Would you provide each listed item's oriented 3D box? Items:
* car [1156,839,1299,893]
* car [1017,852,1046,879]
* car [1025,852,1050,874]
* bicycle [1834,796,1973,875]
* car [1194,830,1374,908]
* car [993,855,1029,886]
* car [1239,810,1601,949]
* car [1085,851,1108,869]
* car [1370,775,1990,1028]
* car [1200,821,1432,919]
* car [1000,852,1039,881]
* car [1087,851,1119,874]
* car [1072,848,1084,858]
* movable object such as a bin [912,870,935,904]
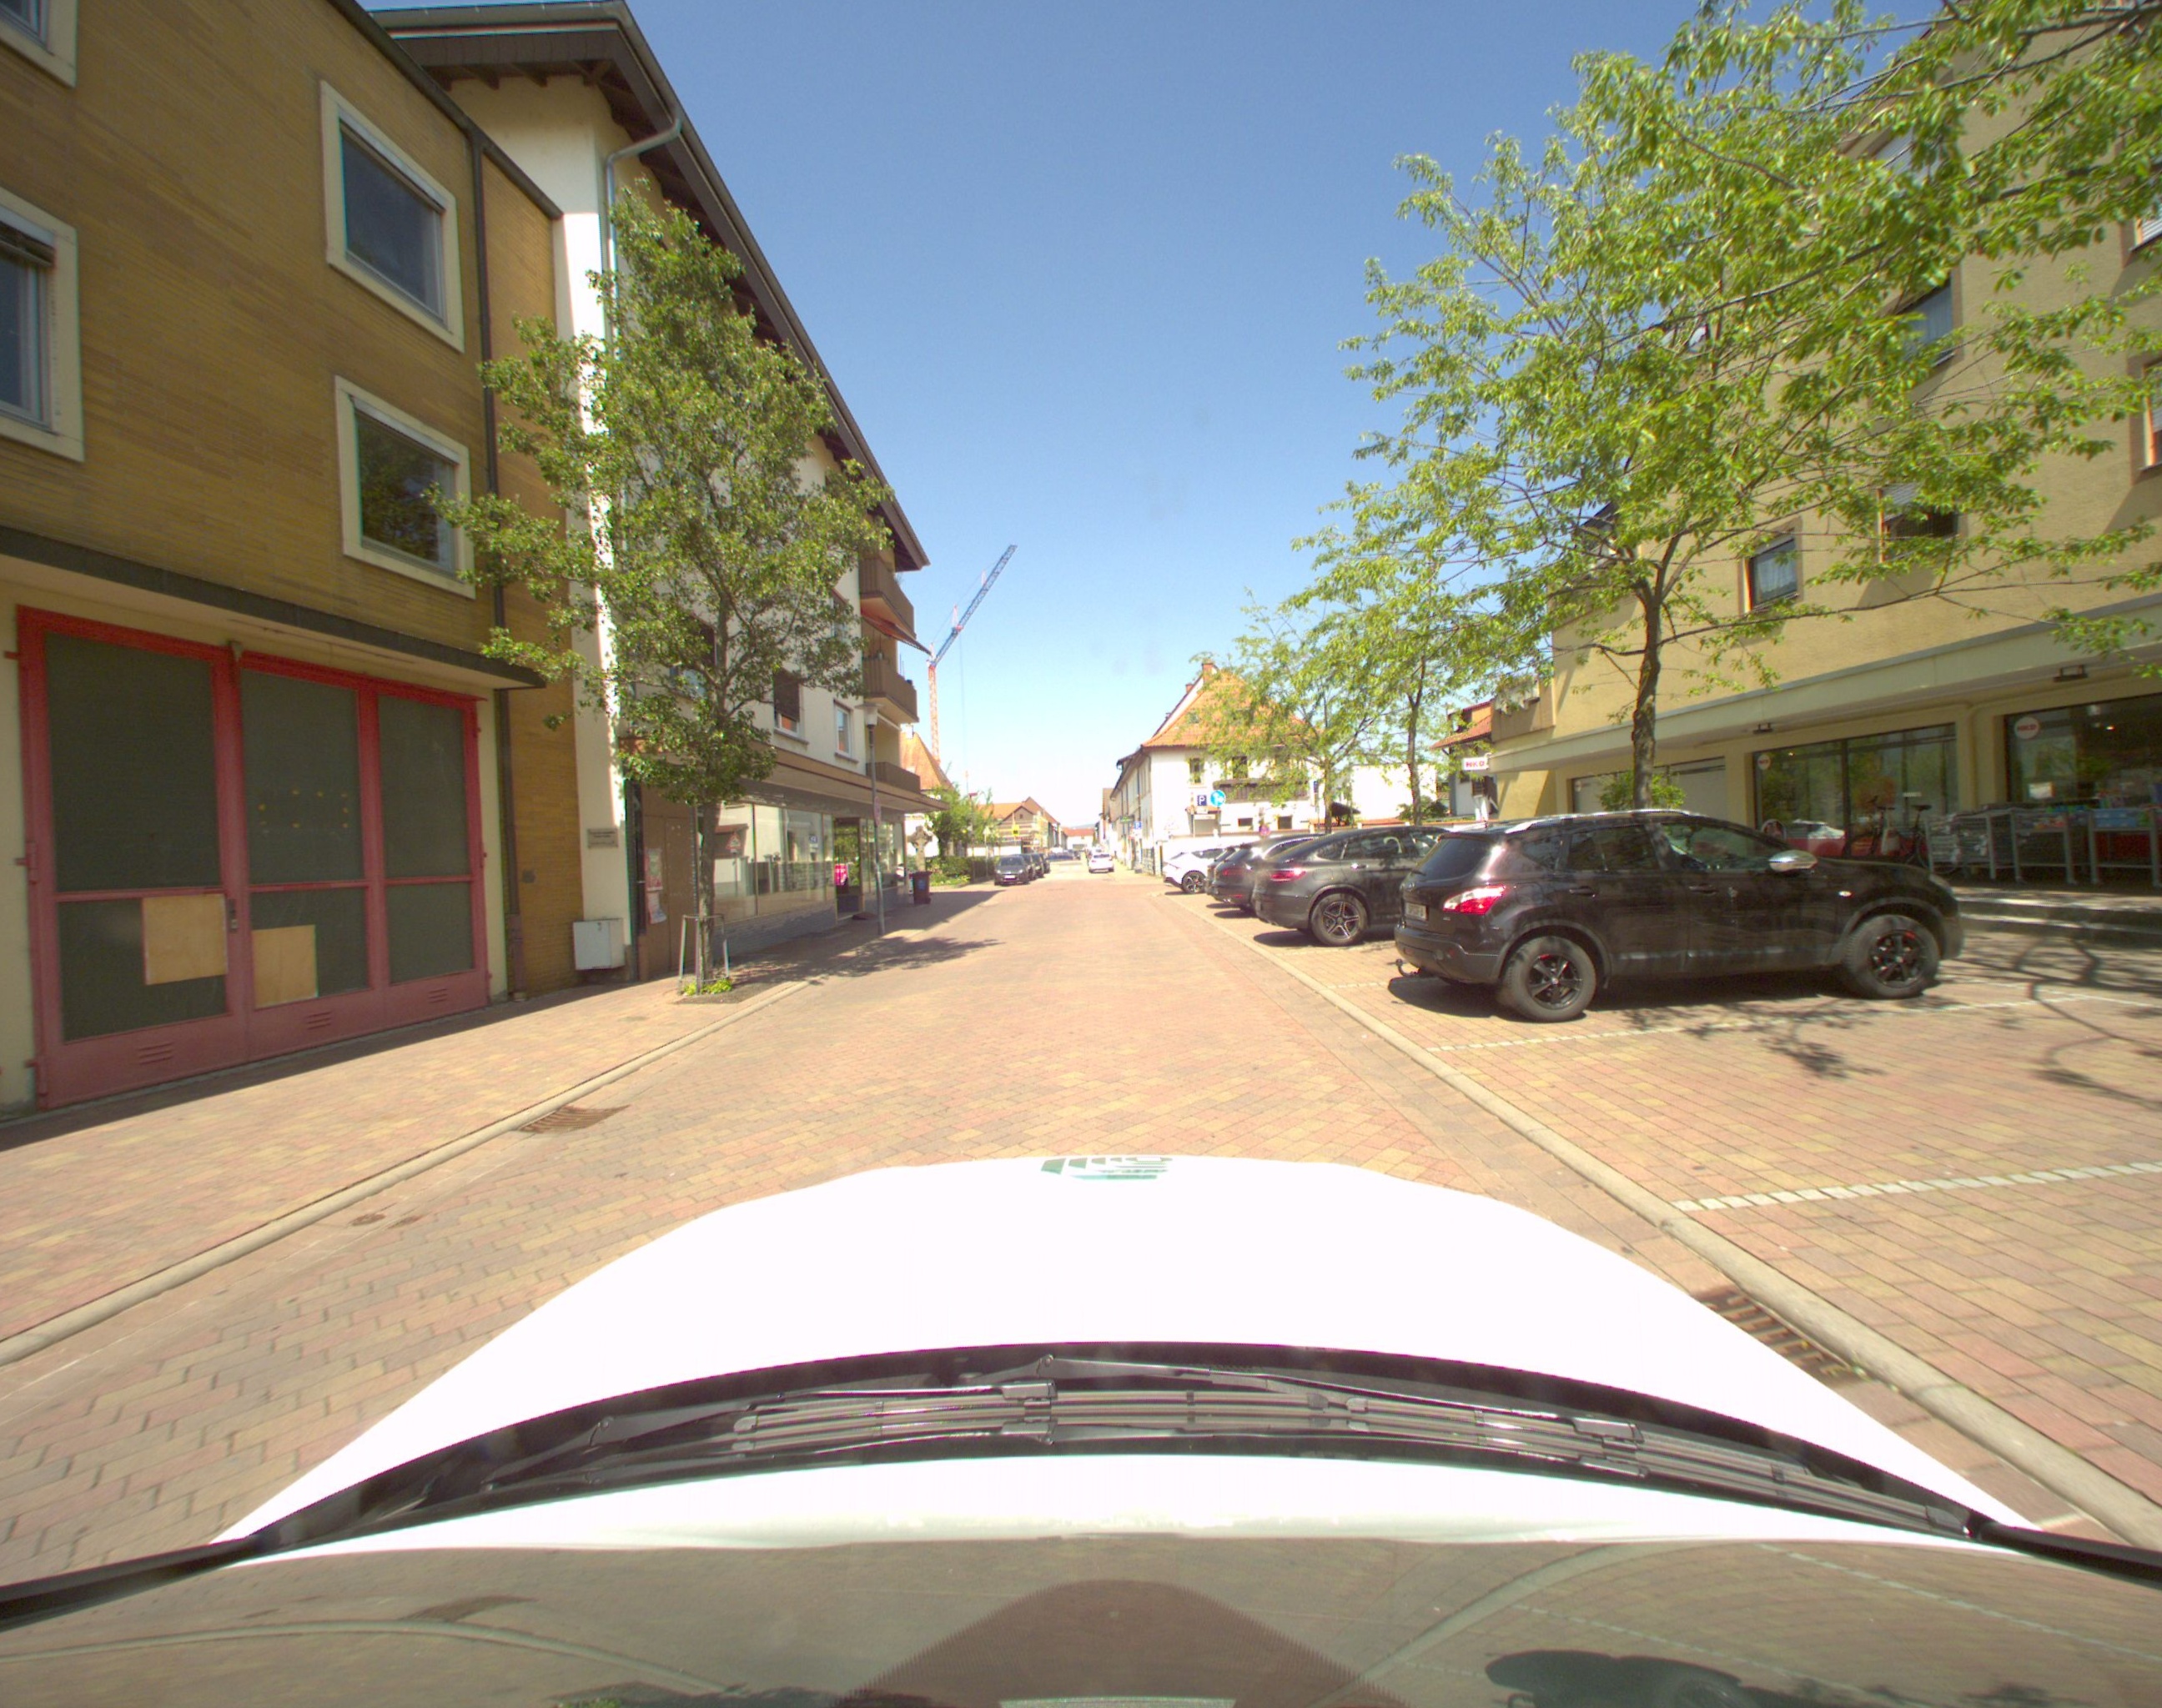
[{"bbox_3d":[4.851,0.391,27.361,4.429,1.576,1.787,-2,0,-3],"label":"car"},{"bbox_3d":[-3.246,0.733,54.302,1.633,1.628,3.767,-3,1,-1],"label":"car"},{"bbox_3d":[-3.438,0.706,65.082,1.821,1.630,4.214,-3,0,-2],"label":"car"},{"bbox_3d":[12.717,-0.263,12.668,0.411,1.124,1.776,-2,0,3],"label":"bicycle"},{"bbox_3d":[4.959,0.348,20.296,3.932,1.534,1.823,-5,0,-1],"label":"car"},{"bbox_3d":[-3.642,0.824,42.742,1.698,1.496,3.853,-3,0,-3],"label":"car"},{"bbox_3d":[4.746,0.339,11.964,4.489,1.588,1.852,-4,0,3],"label":"car"},{"bbox_3d":[1.490,0.544,81.286,1.880,1.556,3.890,-6,1,-3],"label":"car"},{"bbox_3d":[4.837,0.361,7.022,4.013,1.612,1.681,-5,0,1],"label":"car"},{"bbox_3d":[4.856,0.316,17.294,4.267,1.681,2.000,-4,0,-2],"label":"car"},{"bbox_3d":[-3.615,0.705,48.626,1.809,1.604,4.026,-3,0,1],"label":"car"},{"bbox_3d":[1.688,0.620,61.025,1.877,1.542,4.251,-3,0,7],"label":"car"},{"bbox_3d":[-0.496,-0.213,136.831,1.876,1.668,4.152,-2,0,-1],"label":"car"},{"bbox_3d":[-5.223,1.086,27.108,0.654,1.070,0.662,-2,0,-6],"label":"movable object such as a bin"}]
